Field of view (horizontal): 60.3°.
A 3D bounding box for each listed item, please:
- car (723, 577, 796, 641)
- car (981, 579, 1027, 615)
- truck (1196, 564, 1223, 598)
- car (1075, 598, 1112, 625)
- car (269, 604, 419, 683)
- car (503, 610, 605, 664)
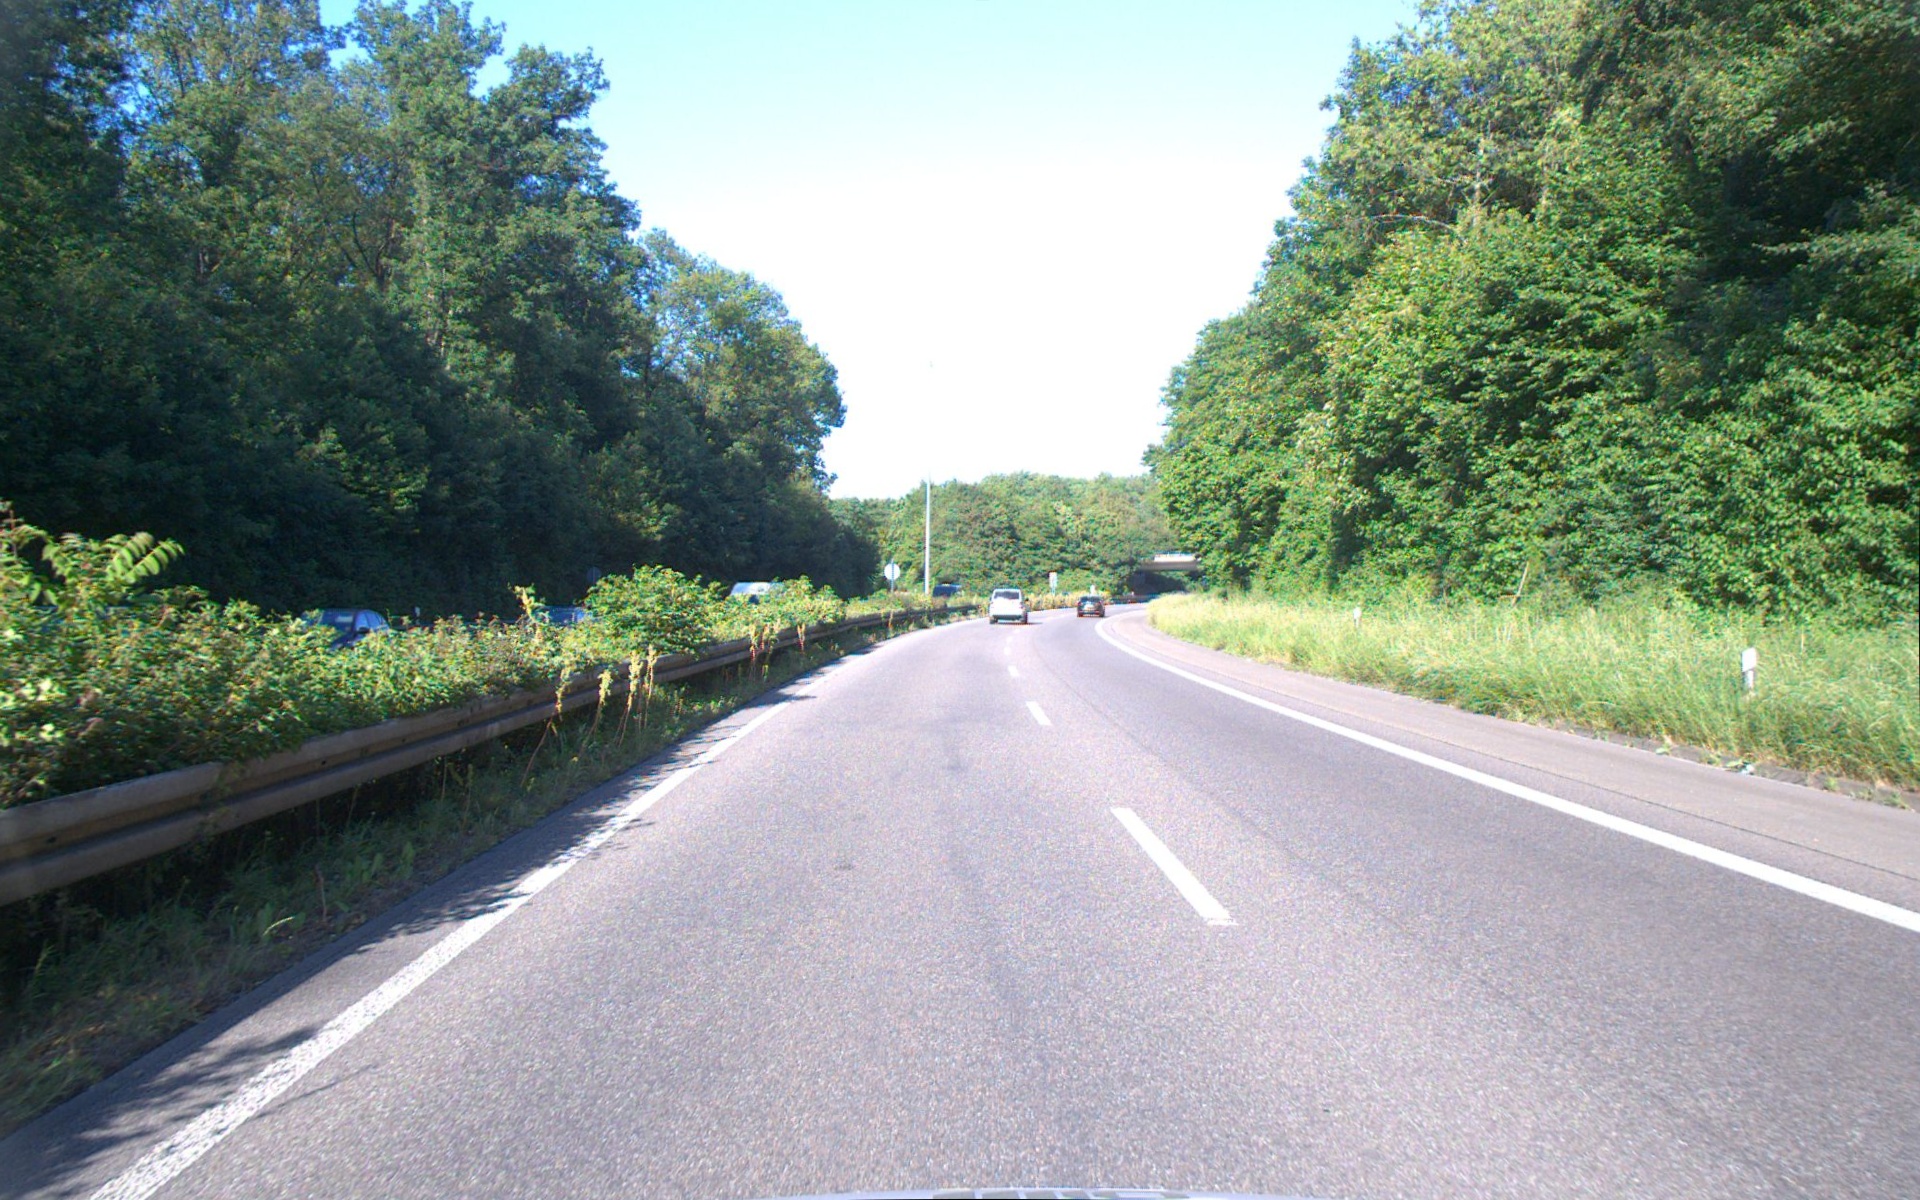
[{"bbox_3d":[-7.550,0.354,62.805,1.875,2.292,5.786,1,0,2],"label":"car"},{"bbox_3d":[2.239,-0.136,85.787,1.913,1.813,4.583,1,0,-5],"label":"car"},{"bbox_3d":[34.182,-2.557,226.509,3.654,4.419,9.312,1,0,9],"label":"truck"},{"bbox_3d":[9.297,0.819,114.926,1.910,1.813,4.591,1,0,12],"label":"car"},{"bbox_3d":[-13.826,0.941,37.425,1.859,1.655,4.501,1,0,-3],"label":"car"},{"bbox_3d":[-11.707,1.031,48.012,1.725,1.449,4.779,1,0,0],"label":"car"}]
